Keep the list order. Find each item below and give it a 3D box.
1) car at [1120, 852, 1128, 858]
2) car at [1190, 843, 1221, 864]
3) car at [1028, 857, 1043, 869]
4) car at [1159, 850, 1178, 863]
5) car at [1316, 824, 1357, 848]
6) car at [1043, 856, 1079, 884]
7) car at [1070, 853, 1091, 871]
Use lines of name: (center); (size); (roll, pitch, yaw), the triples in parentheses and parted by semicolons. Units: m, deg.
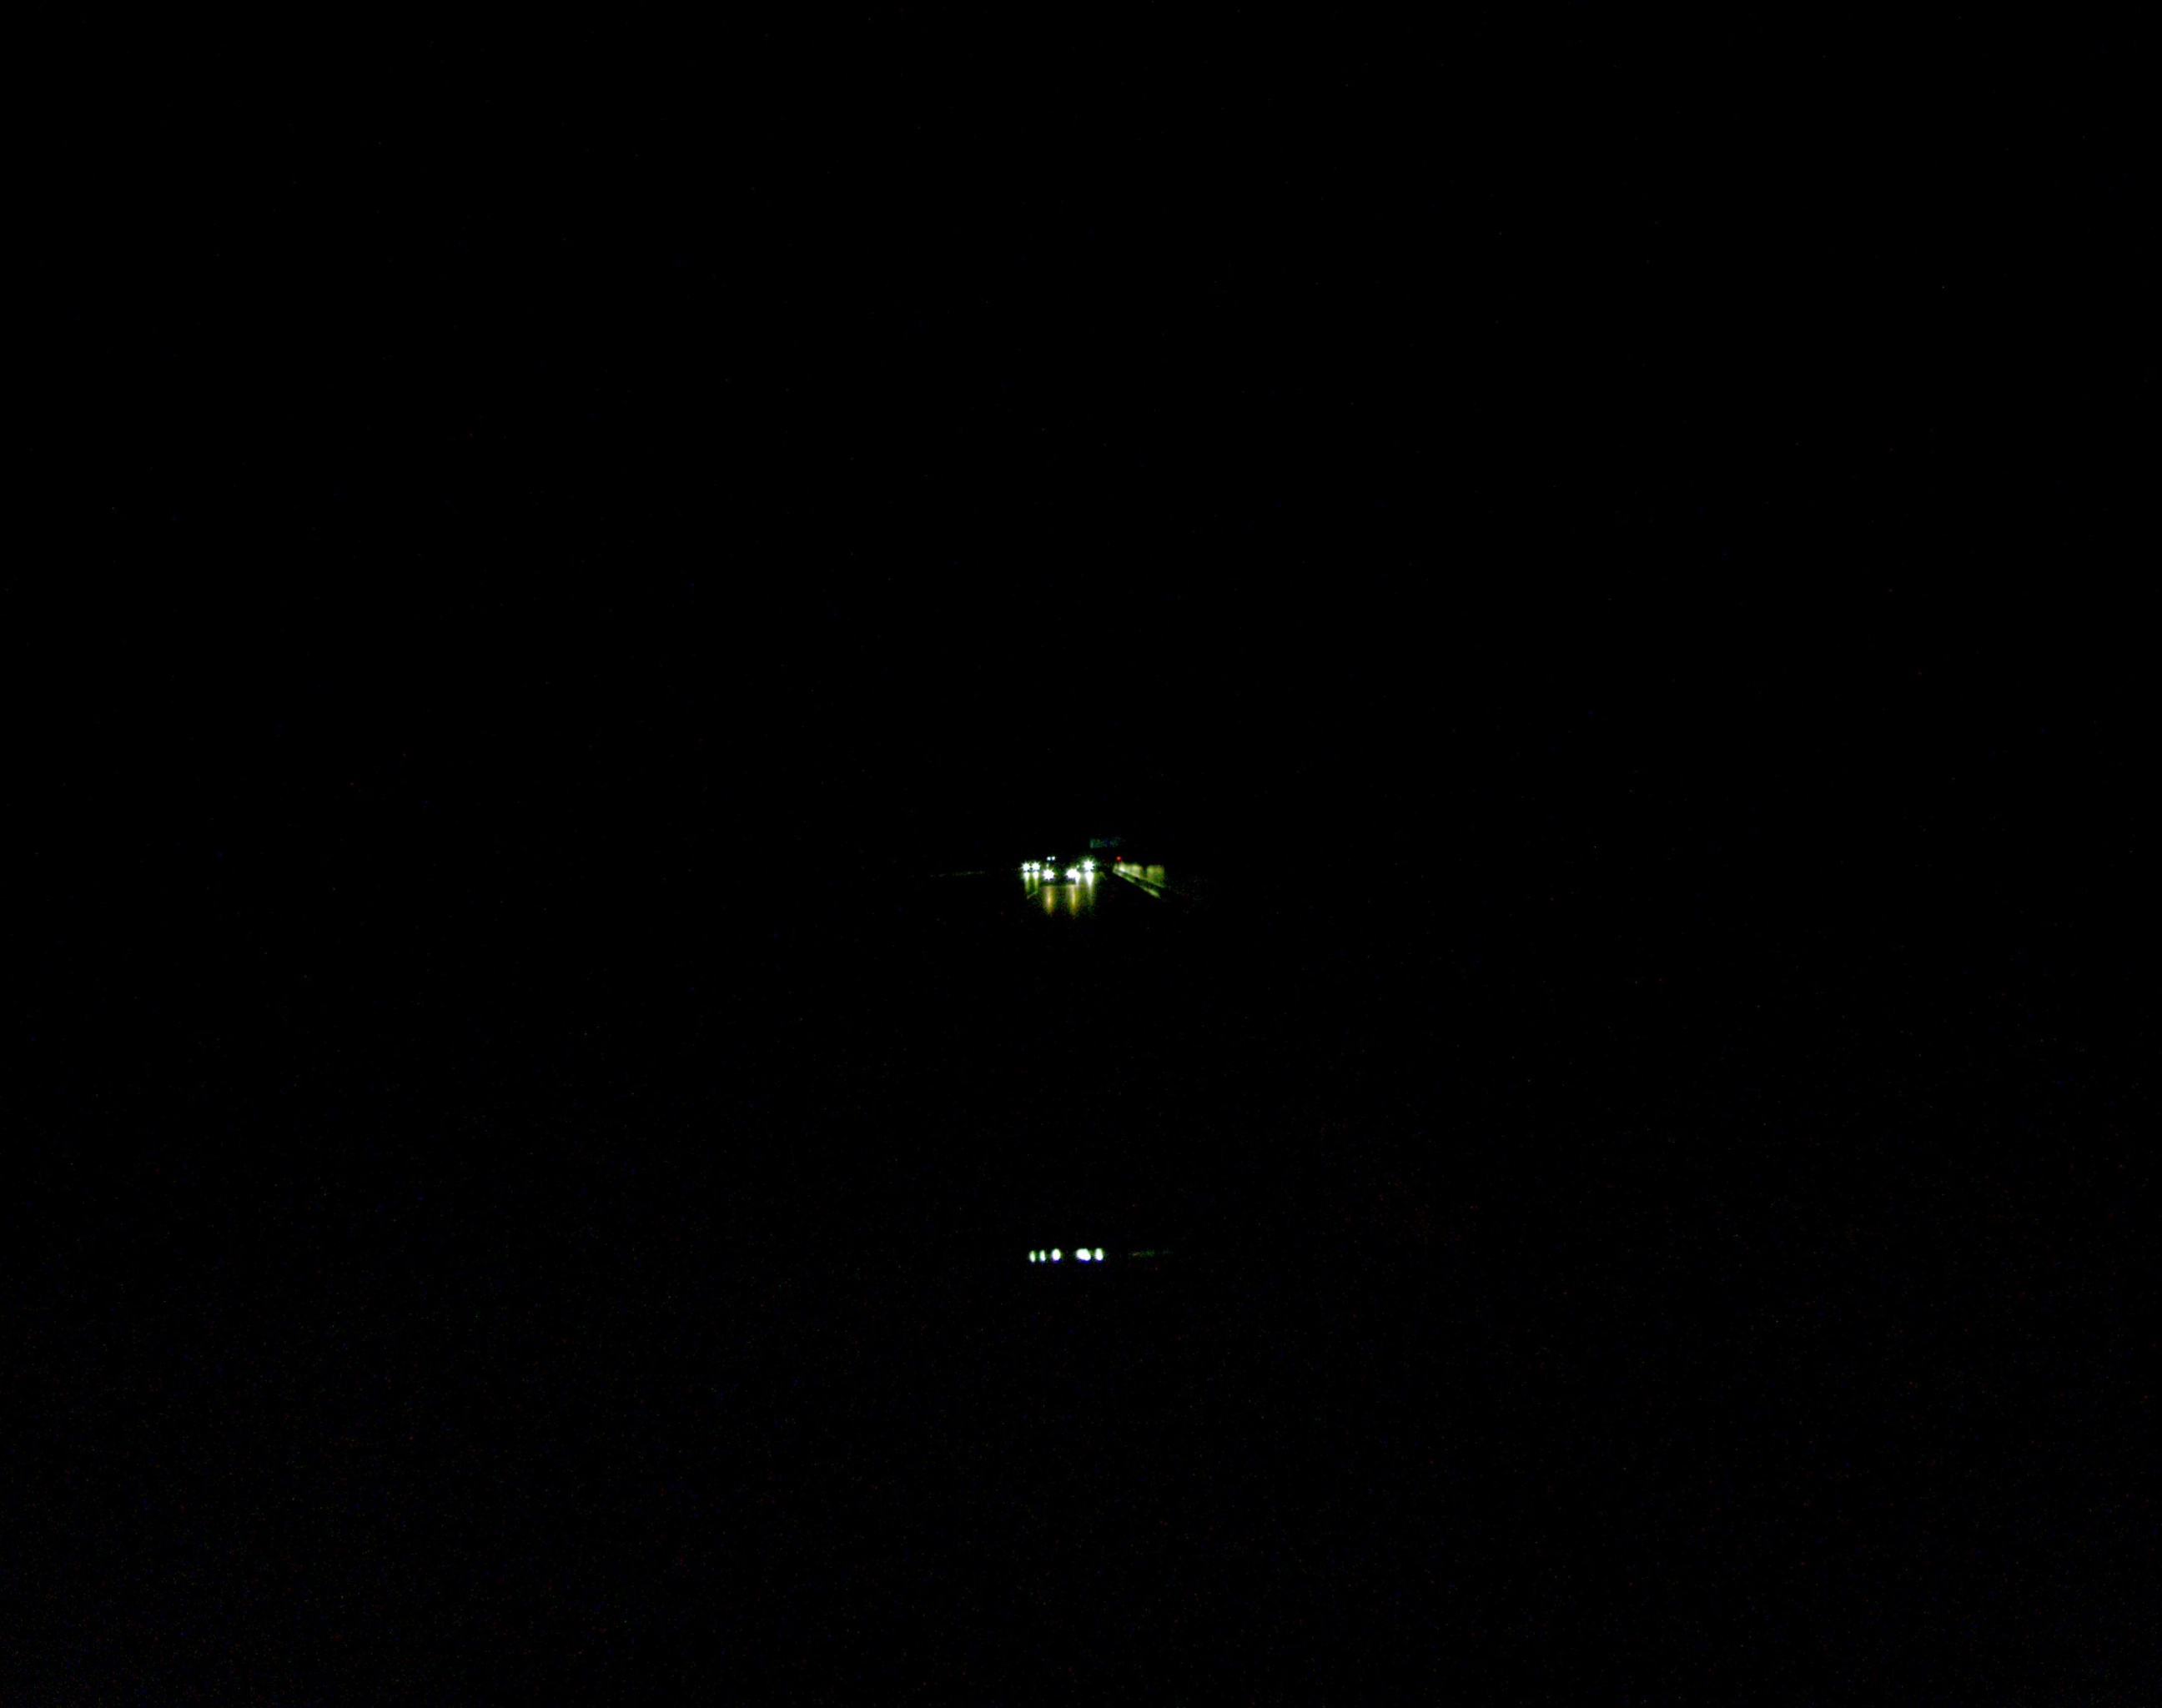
car: (12.332, 0.344, 216.405); (1.938, 1.552, 4.453); (-5, 0, 0)
car: (11.773, -0.045, 72.050); (1.998, 1.765, 4.748); (-5, 0, -1)
car: (-6.868, 1.381, 114.991); (1.999, 1.707, 5.167); (-6, -1, -3)
car: (13.027, 0.348, 112.797); (1.998, 1.765, 5.170); (-5, 0, -1)
car: (21.282, -1.477, 63.419); (1.999, 1.914, 3.999); (-2, 0, -1)
car: (-1.181, 0.919, 45.079); (1.840, 1.392, 5.069); (-6, -1, -1)
car: (0.012, 0.838, 80.992); (2.012, 1.652, 4.000); (-5, 0, 1)
